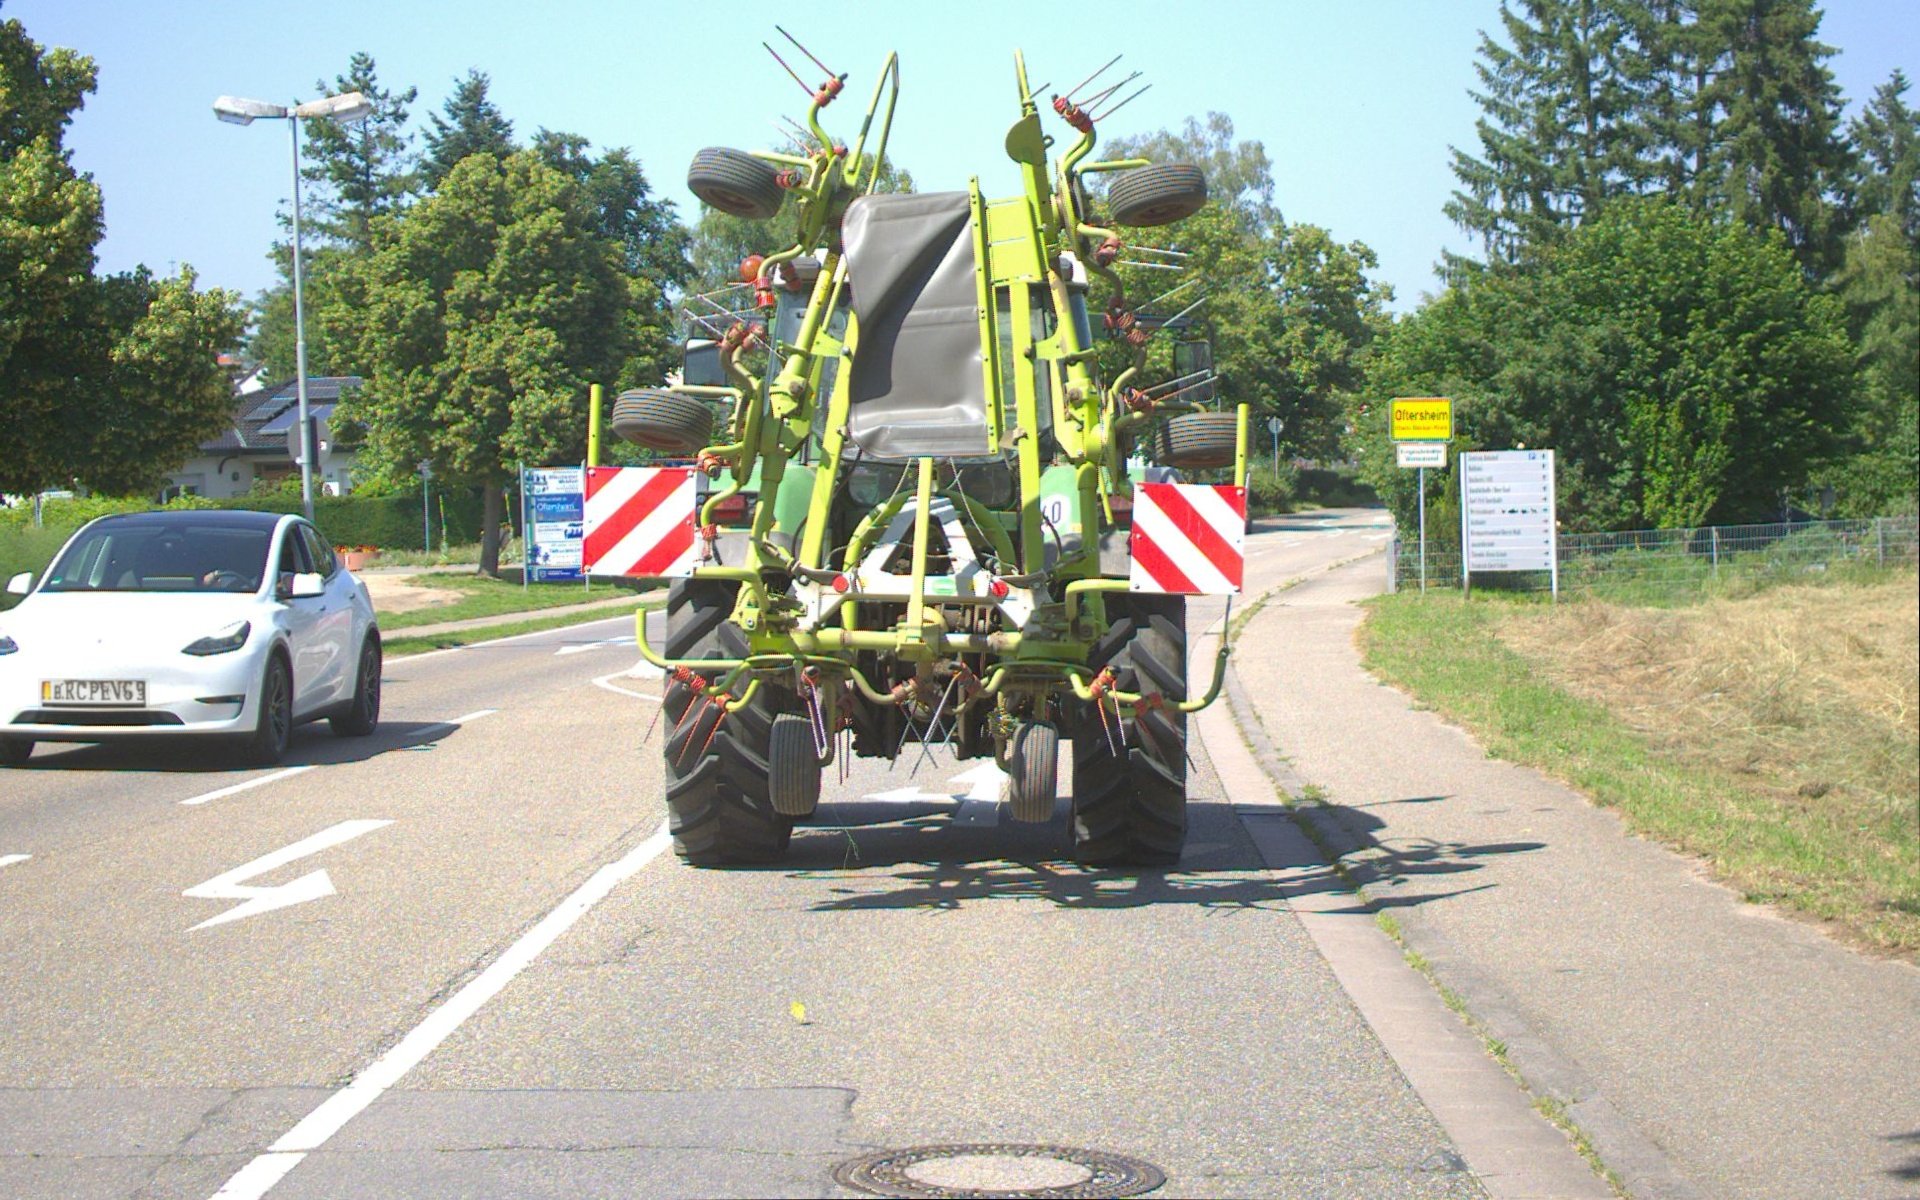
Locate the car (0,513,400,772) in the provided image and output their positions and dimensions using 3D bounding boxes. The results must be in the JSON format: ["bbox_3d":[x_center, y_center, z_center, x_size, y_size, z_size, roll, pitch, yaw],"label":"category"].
[{"bbox_3d":[-5.197,0.206,23.371,1.876,1.567,4.472,0,2,2],"label":"car"}]

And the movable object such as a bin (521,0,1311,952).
[{"bbox_3d":[-0.167,-0.661,17.503,2.853,3.529,9.702,1,2,0],"label":"movable object such as a bin"}]
